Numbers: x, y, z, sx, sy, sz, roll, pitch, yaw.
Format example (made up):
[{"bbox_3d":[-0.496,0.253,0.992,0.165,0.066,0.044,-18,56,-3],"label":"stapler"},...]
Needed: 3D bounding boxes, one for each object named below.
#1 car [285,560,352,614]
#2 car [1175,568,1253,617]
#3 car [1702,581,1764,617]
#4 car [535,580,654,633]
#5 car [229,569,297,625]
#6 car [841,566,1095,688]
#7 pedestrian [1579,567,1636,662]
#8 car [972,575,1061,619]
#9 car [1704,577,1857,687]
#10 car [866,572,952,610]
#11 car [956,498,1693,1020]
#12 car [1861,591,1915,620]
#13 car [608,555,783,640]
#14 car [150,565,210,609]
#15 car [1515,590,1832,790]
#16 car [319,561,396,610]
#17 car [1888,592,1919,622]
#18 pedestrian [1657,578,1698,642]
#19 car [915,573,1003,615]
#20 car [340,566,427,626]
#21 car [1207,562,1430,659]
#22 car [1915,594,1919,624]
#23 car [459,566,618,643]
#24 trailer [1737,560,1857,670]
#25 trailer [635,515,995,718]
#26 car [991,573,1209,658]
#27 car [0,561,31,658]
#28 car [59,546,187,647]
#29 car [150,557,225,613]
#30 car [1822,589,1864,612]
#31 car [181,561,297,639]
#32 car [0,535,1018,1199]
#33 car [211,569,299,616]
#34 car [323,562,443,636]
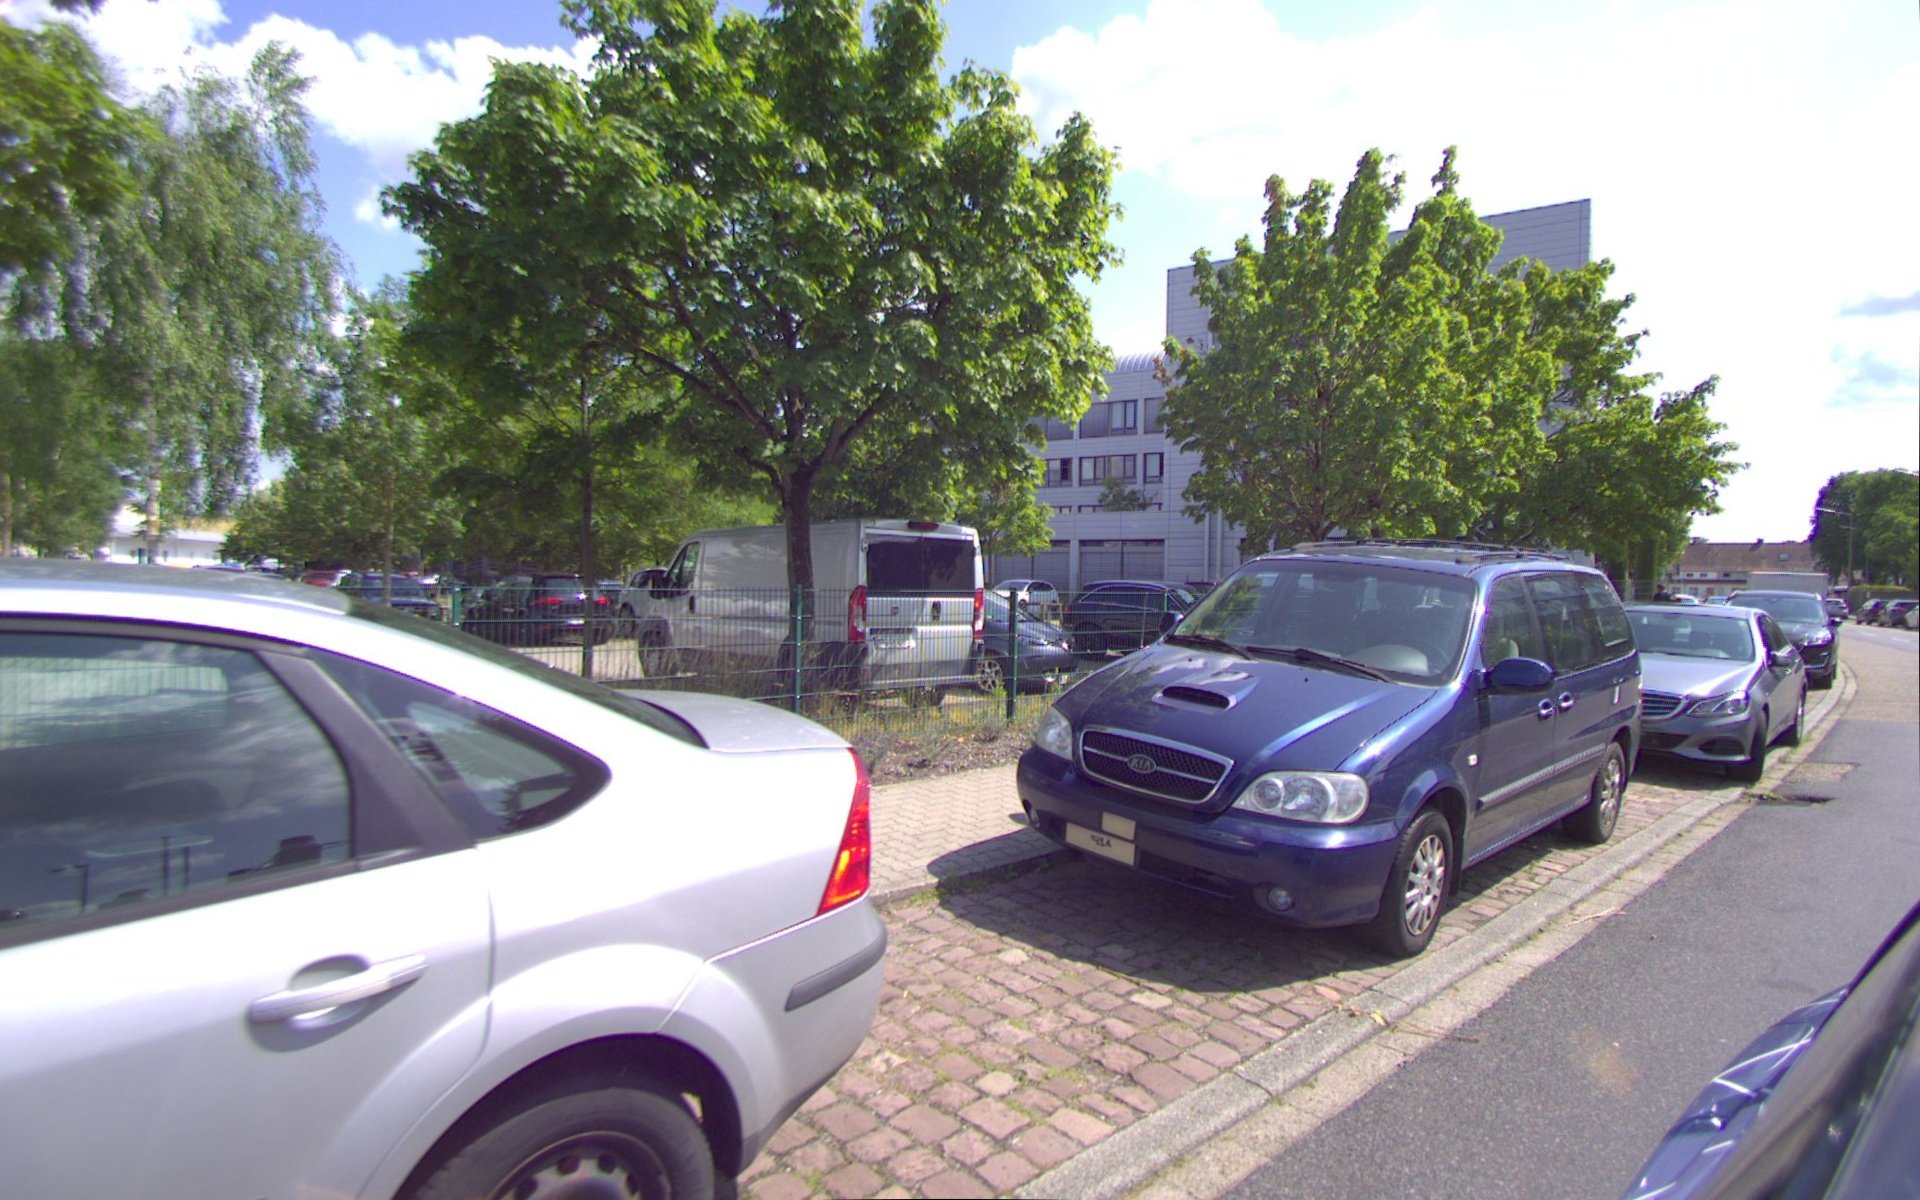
[{"bbox_3d":[-29.947,-0.583,47.193,2.056,2.388,5.377,0,0,-39],"label":"car"},{"bbox_3d":[9.305,-0.266,36.930,1.813,1.668,3.298,-1,0,32],"label":"car"},{"bbox_3d":[38.110,-0.070,49.994,1.800,1.523,3.958,6,3,30],"label":"car"},{"bbox_3d":[-10.359,0.133,28.550,1.825,1.391,3.993,-1,1,-42],"label":"car"},{"bbox_3d":[-30.670,-0.125,44.446,2.030,2.328,5.347,0,0,-39],"label":"car"},{"bbox_3d":[0.014,0.318,15.855,1.666,1.656,3.990,0,1,-44],"label":"car"},{"bbox_3d":[12.288,0.259,19.209,0.720,1.714,0.728,4,3,42],"label":"pedestrian"},{"bbox_3d":[2.376,-0.150,41.338,1.722,1.701,4.482,-1,1,32],"label":"car"},{"bbox_3d":[15.268,0.479,18.738,1.861,1.703,4.638,4,3,42],"label":"car"},{"bbox_3d":[-2.181,-0.427,44.698,1.941,1.567,3.958,-1,1,31],"label":"car"},{"bbox_3d":[2.453,0.471,5.824,4.991,1.787,1.853,-1,4,-43],"label":"car"},{"bbox_3d":[53.403,0.291,58.289,1.557,1.534,3.989,2,1,32],"label":"car"},{"bbox_3d":[-6.280,-0.129,23.670,1.883,1.789,4.856,0,1,-43],"label":"car"},{"bbox_3d":[-33.476,-0.536,43.395,1.964,1.792,3.996,0,0,-39],"label":"car"},{"bbox_3d":[7.422,0.684,10.295,1.843,1.478,4.791,4,3,44],"label":"car"},{"bbox_3d":[-23.301,-0.528,39.070,1.965,1.792,3.995,0,0,-40],"label":"car"},{"bbox_3d":[50.834,0.363,53.754,1.557,1.534,3.700,2,1,32],"label":"car"},{"bbox_3d":[19.336,0.265,27.288,0.726,1.666,0.571,7,3,40],"label":"pedestrian"},{"bbox_3d":[0.013,-0.288,42.769,1.942,1.671,3.955,0,1,32],"label":"car"},{"bbox_3d":[-27.318,-0.178,47.840,2.699,2.631,5.792,0,0,-39],"label":"car"},{"bbox_3d":[8.270,0.172,23.592,4.467,1.990,1.969,3,1,43],"label":"car"},{"bbox_3d":[47.896,0.479,49.067,1.557,1.473,3.700,2,1,32],"label":"car"},{"bbox_3d":[-8.821,0.034,21.030,1.773,1.440,3.992,0,1,-43],"label":"car"},{"bbox_3d":[18.147,0.251,21.926,1.745,2.092,3.889,5,4,41],"label":"trailer"},{"bbox_3d":[-2.065,0.101,13.031,2.027,2.108,5.051,0,2,-44],"label":"trailer"},{"bbox_3d":[2.887,0.299,21.430,4.323,1.615,1.829,0,0,42],"label":"car"},{"bbox_3d":[-15.362,0.139,15.082,1.696,1.455,4.174,0,1,-35],"label":"car"},{"bbox_3d":[-18.033,-0.112,21.744,1.964,1.959,4.087,0,1,-42],"label":"car"},{"bbox_3d":[-26.707,-0.486,34.957,1.964,1.824,3.996,0,0,-39],"label":"car"},{"bbox_3d":[62.840,0.001,72.085,1.666,1.534,3.700,2,1,32],"label":"car"},{"bbox_3d":[-17.201,-0.038,24.074,1.825,1.687,3.993,0,1,-42],"label":"car"},{"bbox_3d":[-2.163,0.642,1.524,4.578,1.510,1.835,-1,3,-43],"label":"car"},{"bbox_3d":[-22.298,-0.277,31.968,1.867,1.391,3.994,-1,1,-41],"label":"car"},{"bbox_3d":[-14.422,-0.059,25.209,1.825,1.687,3.993,0,1,-42],"label":"car"}]
